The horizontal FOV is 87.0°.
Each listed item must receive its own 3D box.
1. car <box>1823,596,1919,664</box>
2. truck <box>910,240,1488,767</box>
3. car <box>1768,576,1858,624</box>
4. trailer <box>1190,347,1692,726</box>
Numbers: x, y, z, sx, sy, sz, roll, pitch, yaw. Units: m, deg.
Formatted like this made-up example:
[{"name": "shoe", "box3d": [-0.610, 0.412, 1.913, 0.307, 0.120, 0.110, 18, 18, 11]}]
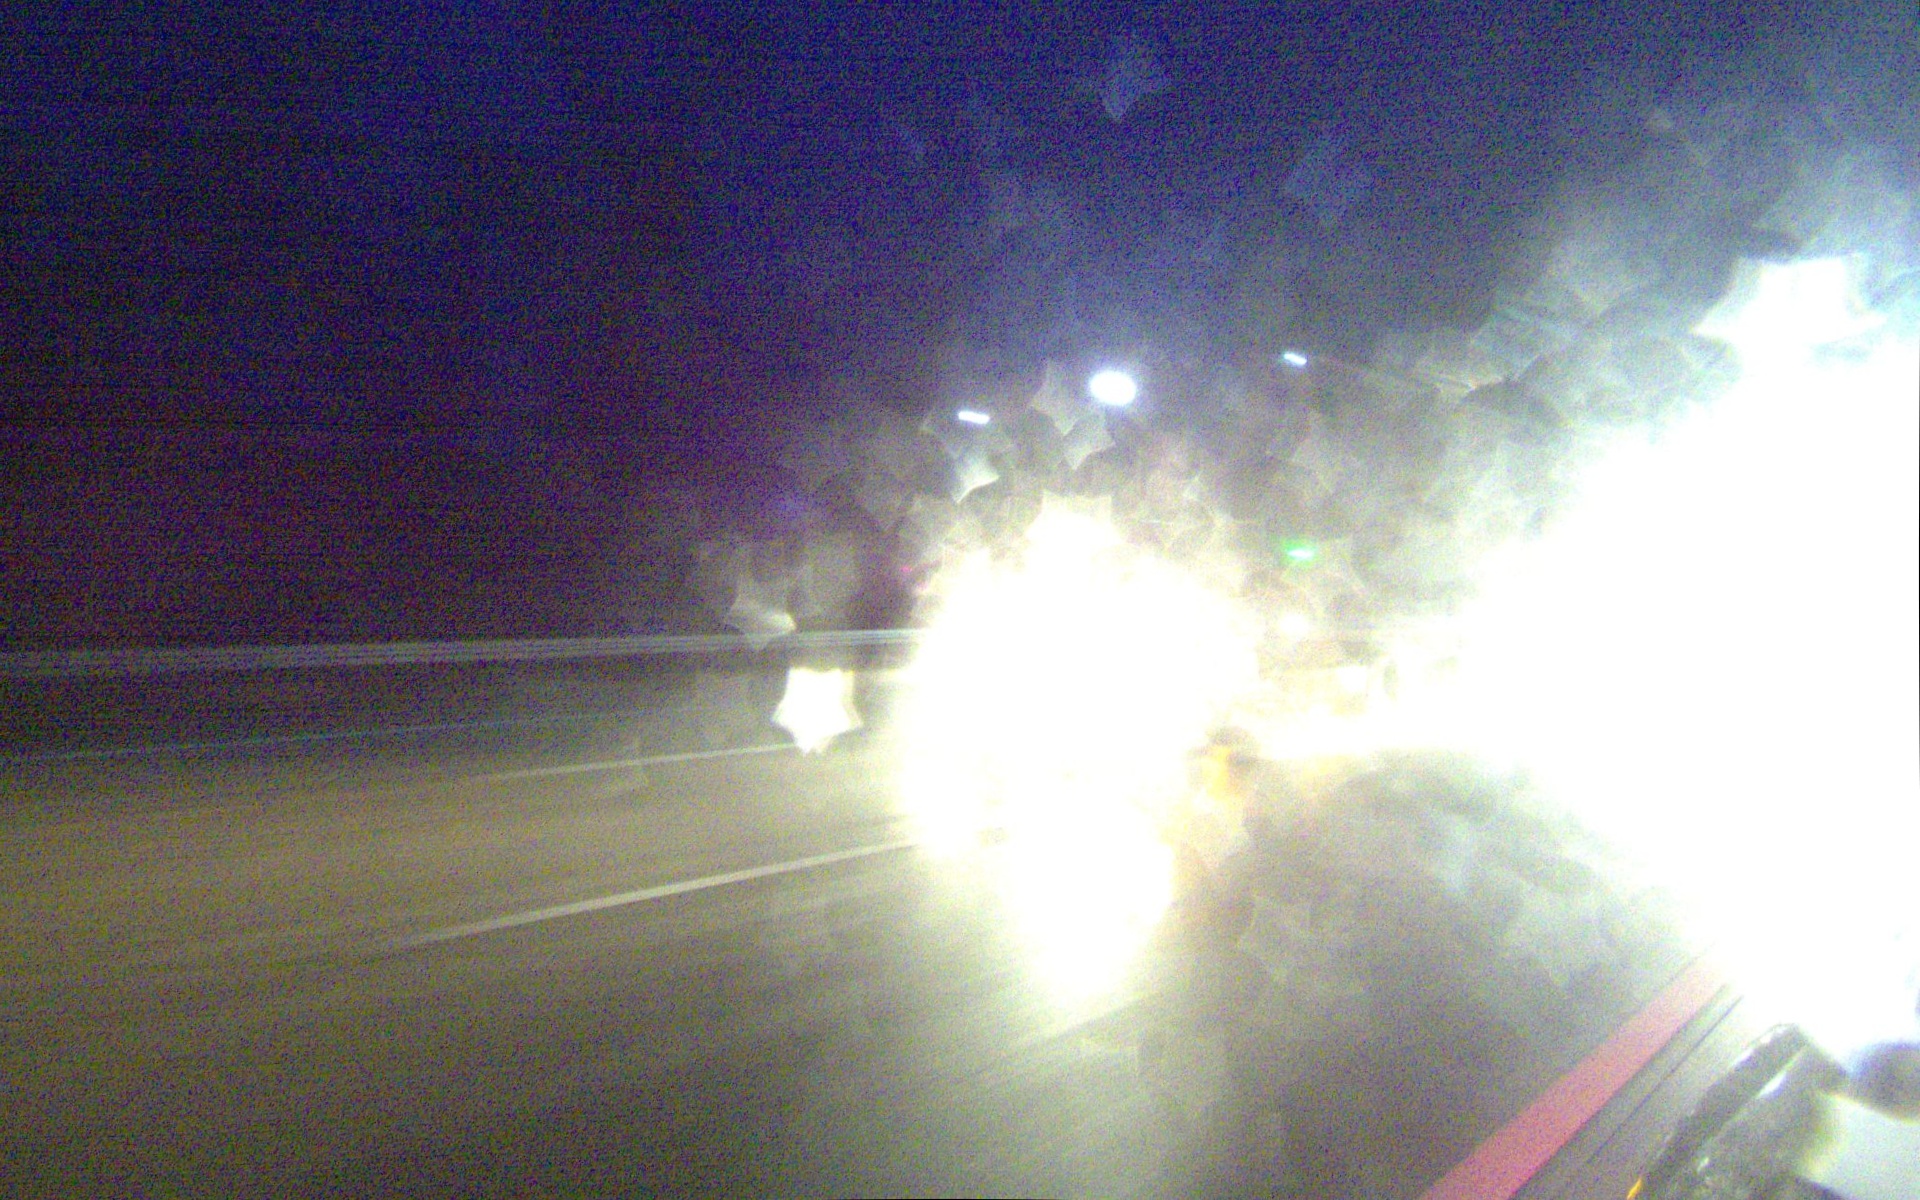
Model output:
[{"name": "car", "box3d": [21.352, 0.637, 23.316, 3.724, 1.430, 1.616, 0, 0, -39]}, {"name": "truck", "box3d": [3.152, -0.809, 11.754, 7.317, 4.321, 2.808, 0, 0, -41]}, {"name": "car", "box3d": [37.645, 0.001, 44.618, 5.309, 1.999, 2.051, 0, 0, -39]}, {"name": "trailer", "box3d": [8.464, -0.739, 16.345, 11.884, 4.265, 2.808, 0, 0, -41]}]
